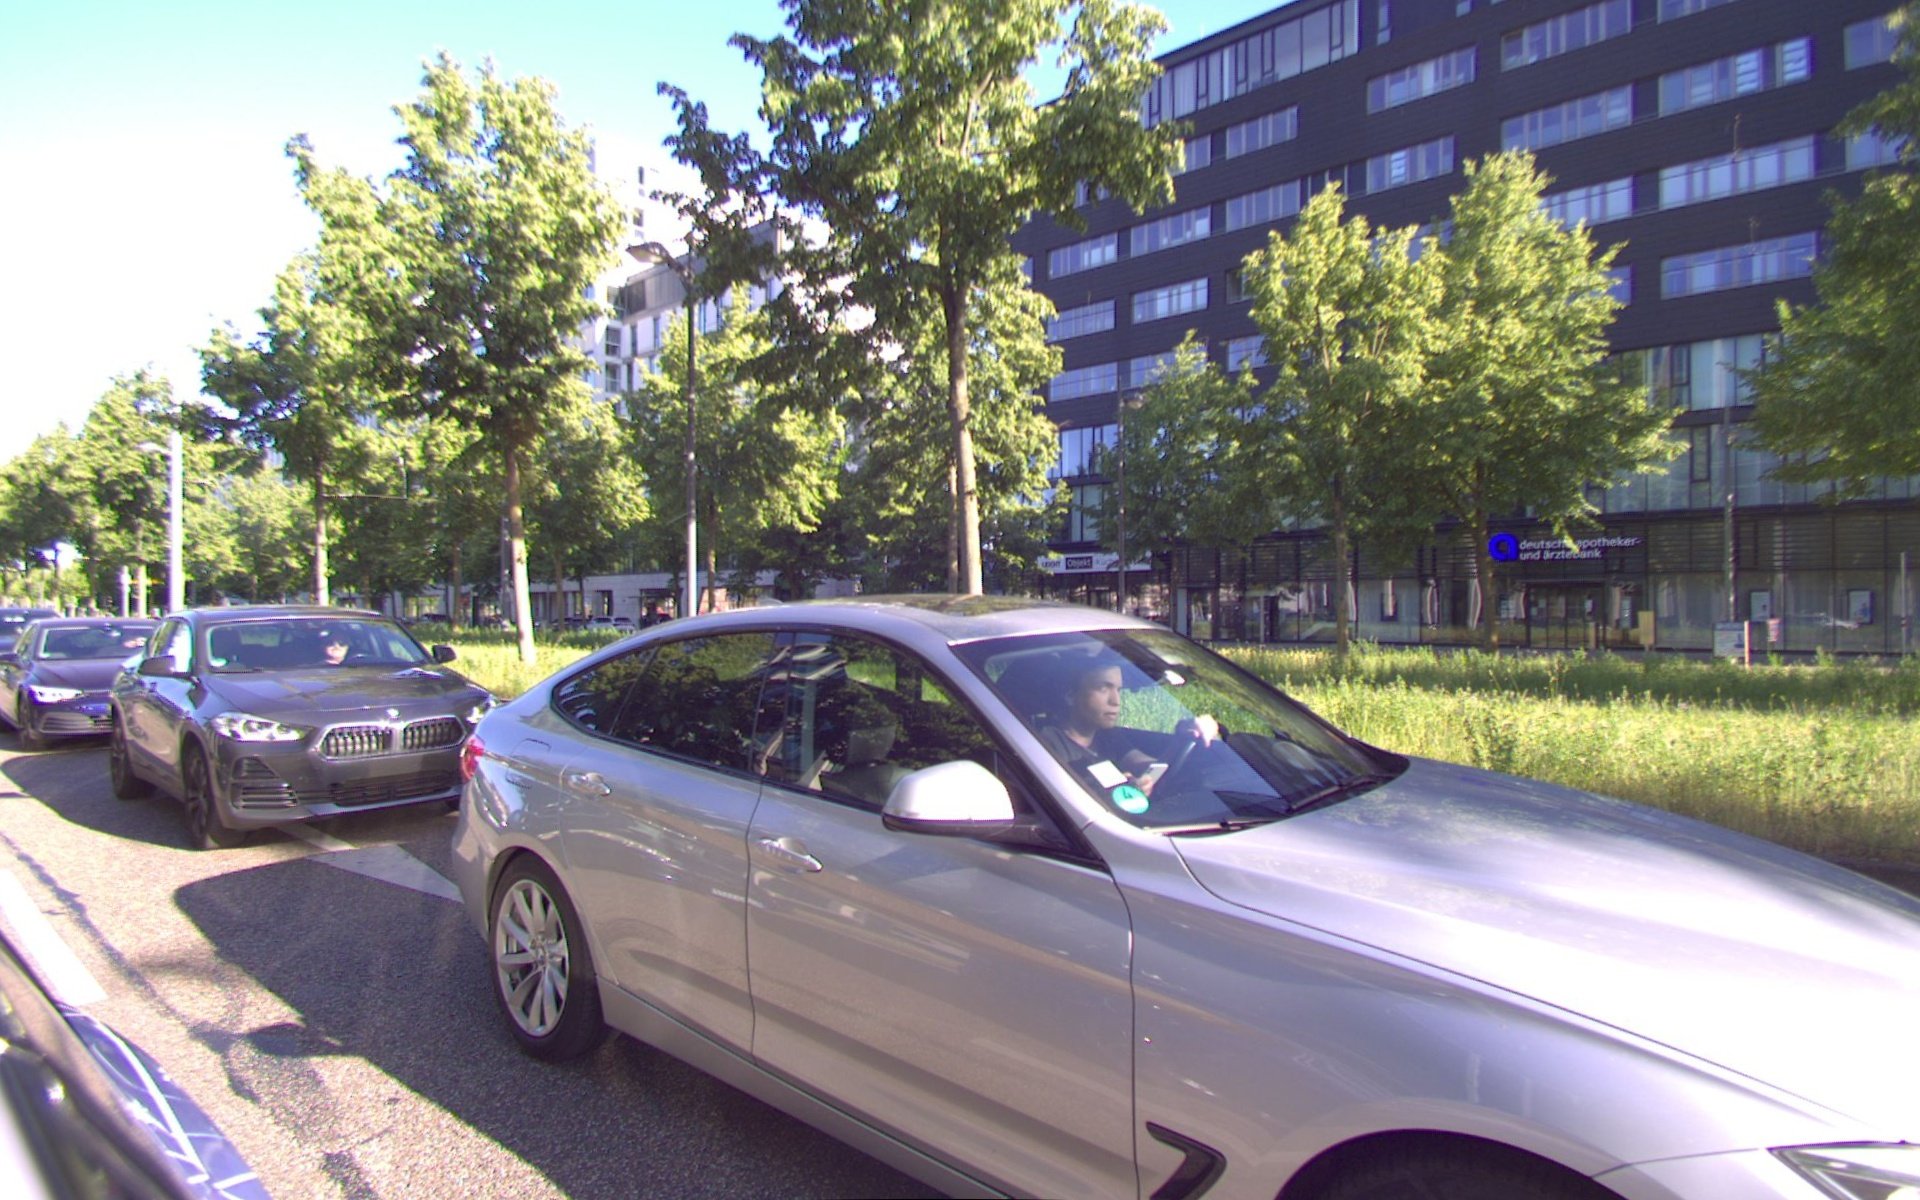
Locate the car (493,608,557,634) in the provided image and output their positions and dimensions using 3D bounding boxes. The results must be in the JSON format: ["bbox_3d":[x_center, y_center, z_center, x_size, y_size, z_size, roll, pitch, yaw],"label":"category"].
[{"bbox_3d":[-30.251,1.448,70.339,4.785,1.711,1.988,-1,-1,38],"label":"car"}]

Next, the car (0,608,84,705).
[{"bbox_3d":[-17.340,0.959,18.307,4.164,1.602,1.788,-1,-1,42],"label":"car"}]

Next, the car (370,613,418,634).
[{"bbox_3d":[-47.880,2.008,85.550,4.788,1.711,1.986,-1,-1,40],"label":"car"}]

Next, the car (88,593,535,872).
[{"bbox_3d":[-5.004,0.756,7.592,4.027,1.534,1.789,-1,-1,41],"label":"car"}]

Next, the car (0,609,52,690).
[{"bbox_3d":[-22.149,1.066,22.697,4.788,1.711,1.986,-1,-1,40],"label":"car"}]

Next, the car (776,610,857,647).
[{"bbox_3d":[-7.117,1.364,50.000,3.998,1.762,1.834,-1,-1,41],"label":"car"}]

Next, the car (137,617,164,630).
[{"bbox_3d":[-88.681,2.598,110.919,3.998,1.403,1.644,-1,-1,41],"label":"car"}]

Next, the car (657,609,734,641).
[{"bbox_3d":[-14.868,1.384,56.851,4.790,1.697,1.834,-1,-1,41],"label":"car"}]

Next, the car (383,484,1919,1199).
[{"bbox_3d":[0.173,0.651,3.014,4.739,1.500,1.790,-1,-1,40],"label":"car"}]

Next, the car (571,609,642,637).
[{"bbox_3d":[-22.283,1.408,63.758,4.785,1.711,1.988,-1,-1,38],"label":"car"}]

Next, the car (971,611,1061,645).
[{"bbox_3d":[2.596,1.269,47.153,3.999,1.516,1.734,-1,-1,42],"label":"car"}]

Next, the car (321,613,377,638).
[{"bbox_3d":[-40.018,1.633,66.249,4.733,1.549,1.834,-1,-1,41],"label":"car"}]

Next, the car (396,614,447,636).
[{"bbox_3d":[-43.497,1.975,81.744,4.788,1.711,1.986,-1,-1,40],"label":"car"}]

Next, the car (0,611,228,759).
[{"bbox_3d":[-10.430,0.877,12.181,4.253,1.465,1.789,-1,-1,42],"label":"car"}]
